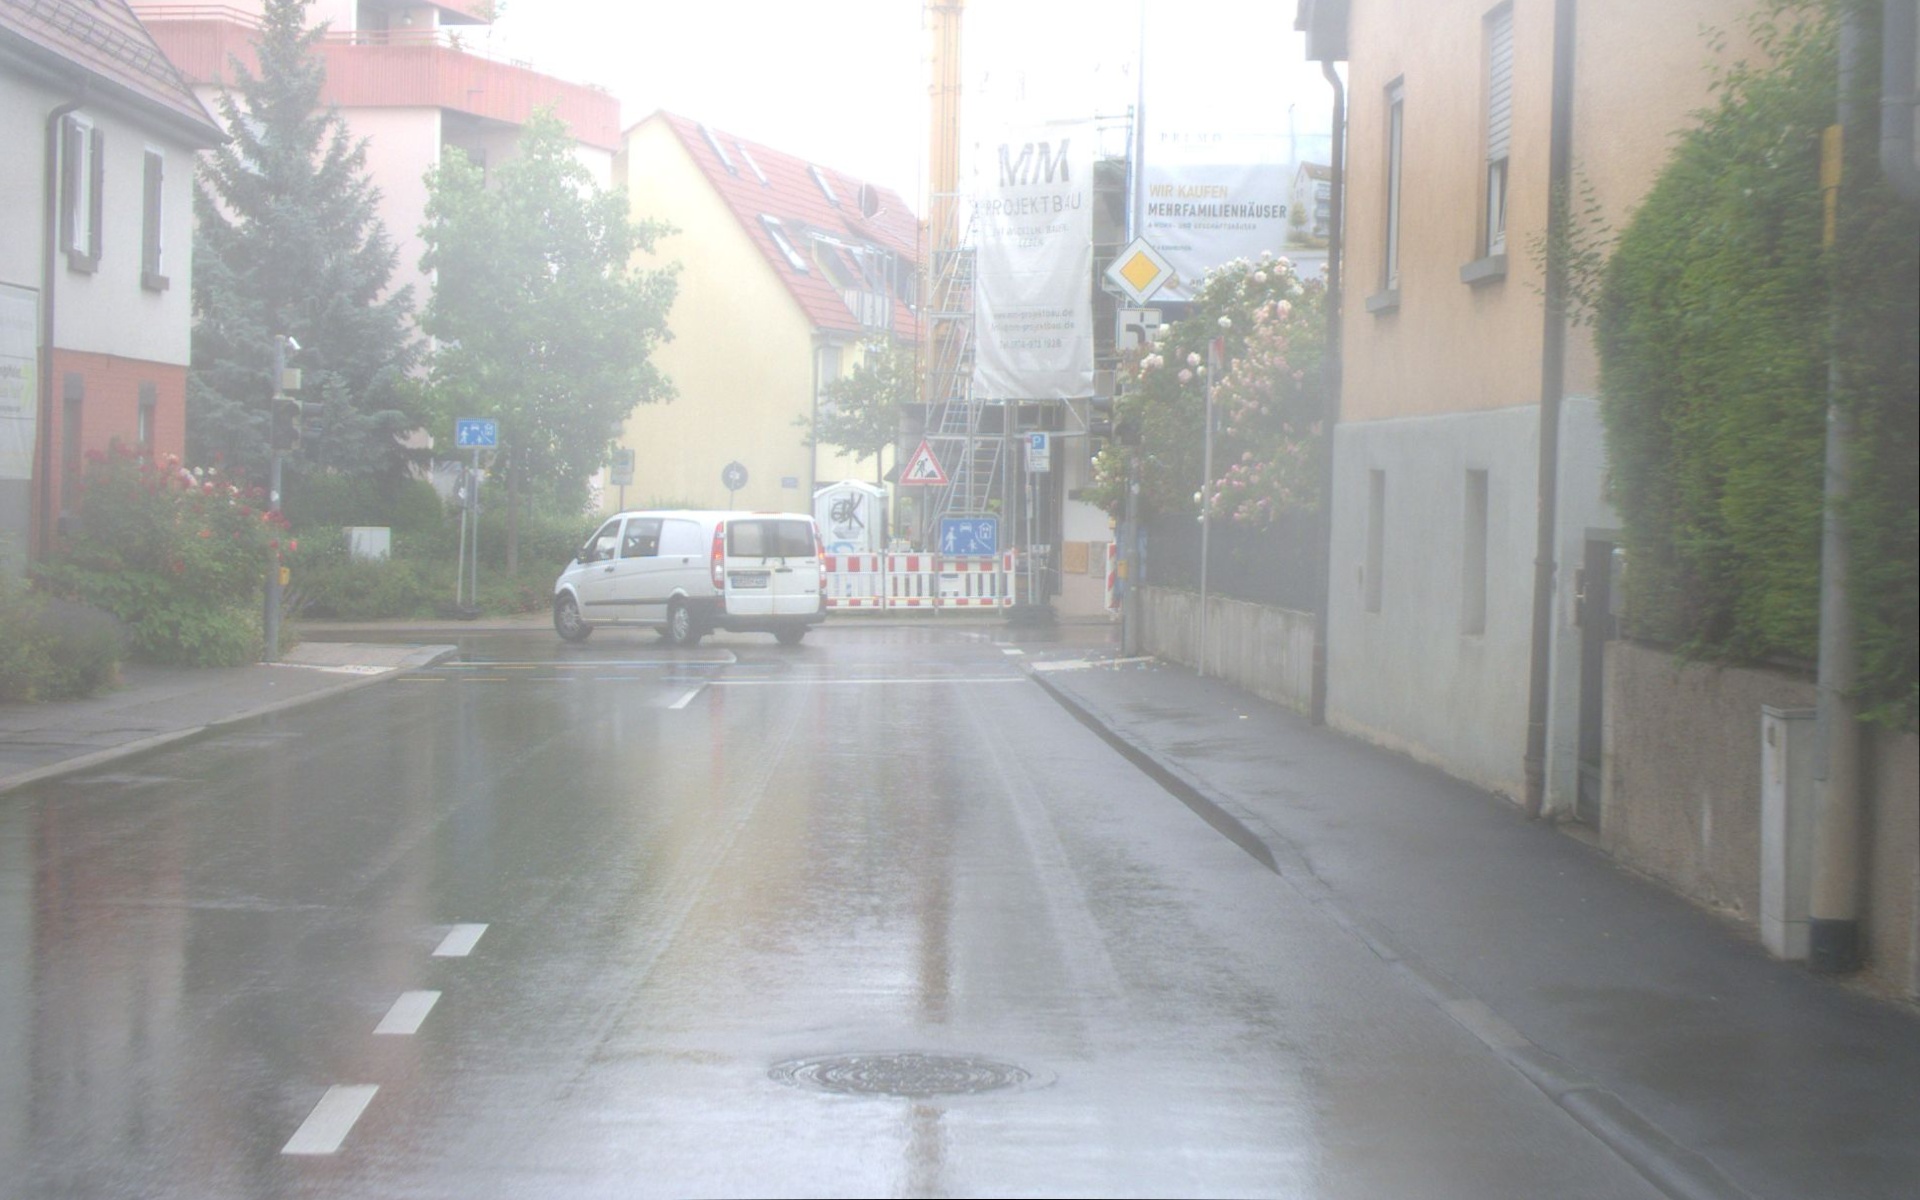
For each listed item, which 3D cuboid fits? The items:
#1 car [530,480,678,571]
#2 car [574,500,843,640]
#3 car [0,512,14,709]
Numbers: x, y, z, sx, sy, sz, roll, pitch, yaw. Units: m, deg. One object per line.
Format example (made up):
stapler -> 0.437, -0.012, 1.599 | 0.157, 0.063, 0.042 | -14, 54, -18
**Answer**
car -> -6.916, -1.482, 67.136 | 1.601, 1.672, 3.936 | 2, 2, 14
car -> -3.555, -0.415, 47.992 | 2.181, 1.863, 4.000 | 1, 0, -30
car -> -9.176, 0.000, 25.946 | 3.545, 1.524, 1.663 | 3, 1, 0
